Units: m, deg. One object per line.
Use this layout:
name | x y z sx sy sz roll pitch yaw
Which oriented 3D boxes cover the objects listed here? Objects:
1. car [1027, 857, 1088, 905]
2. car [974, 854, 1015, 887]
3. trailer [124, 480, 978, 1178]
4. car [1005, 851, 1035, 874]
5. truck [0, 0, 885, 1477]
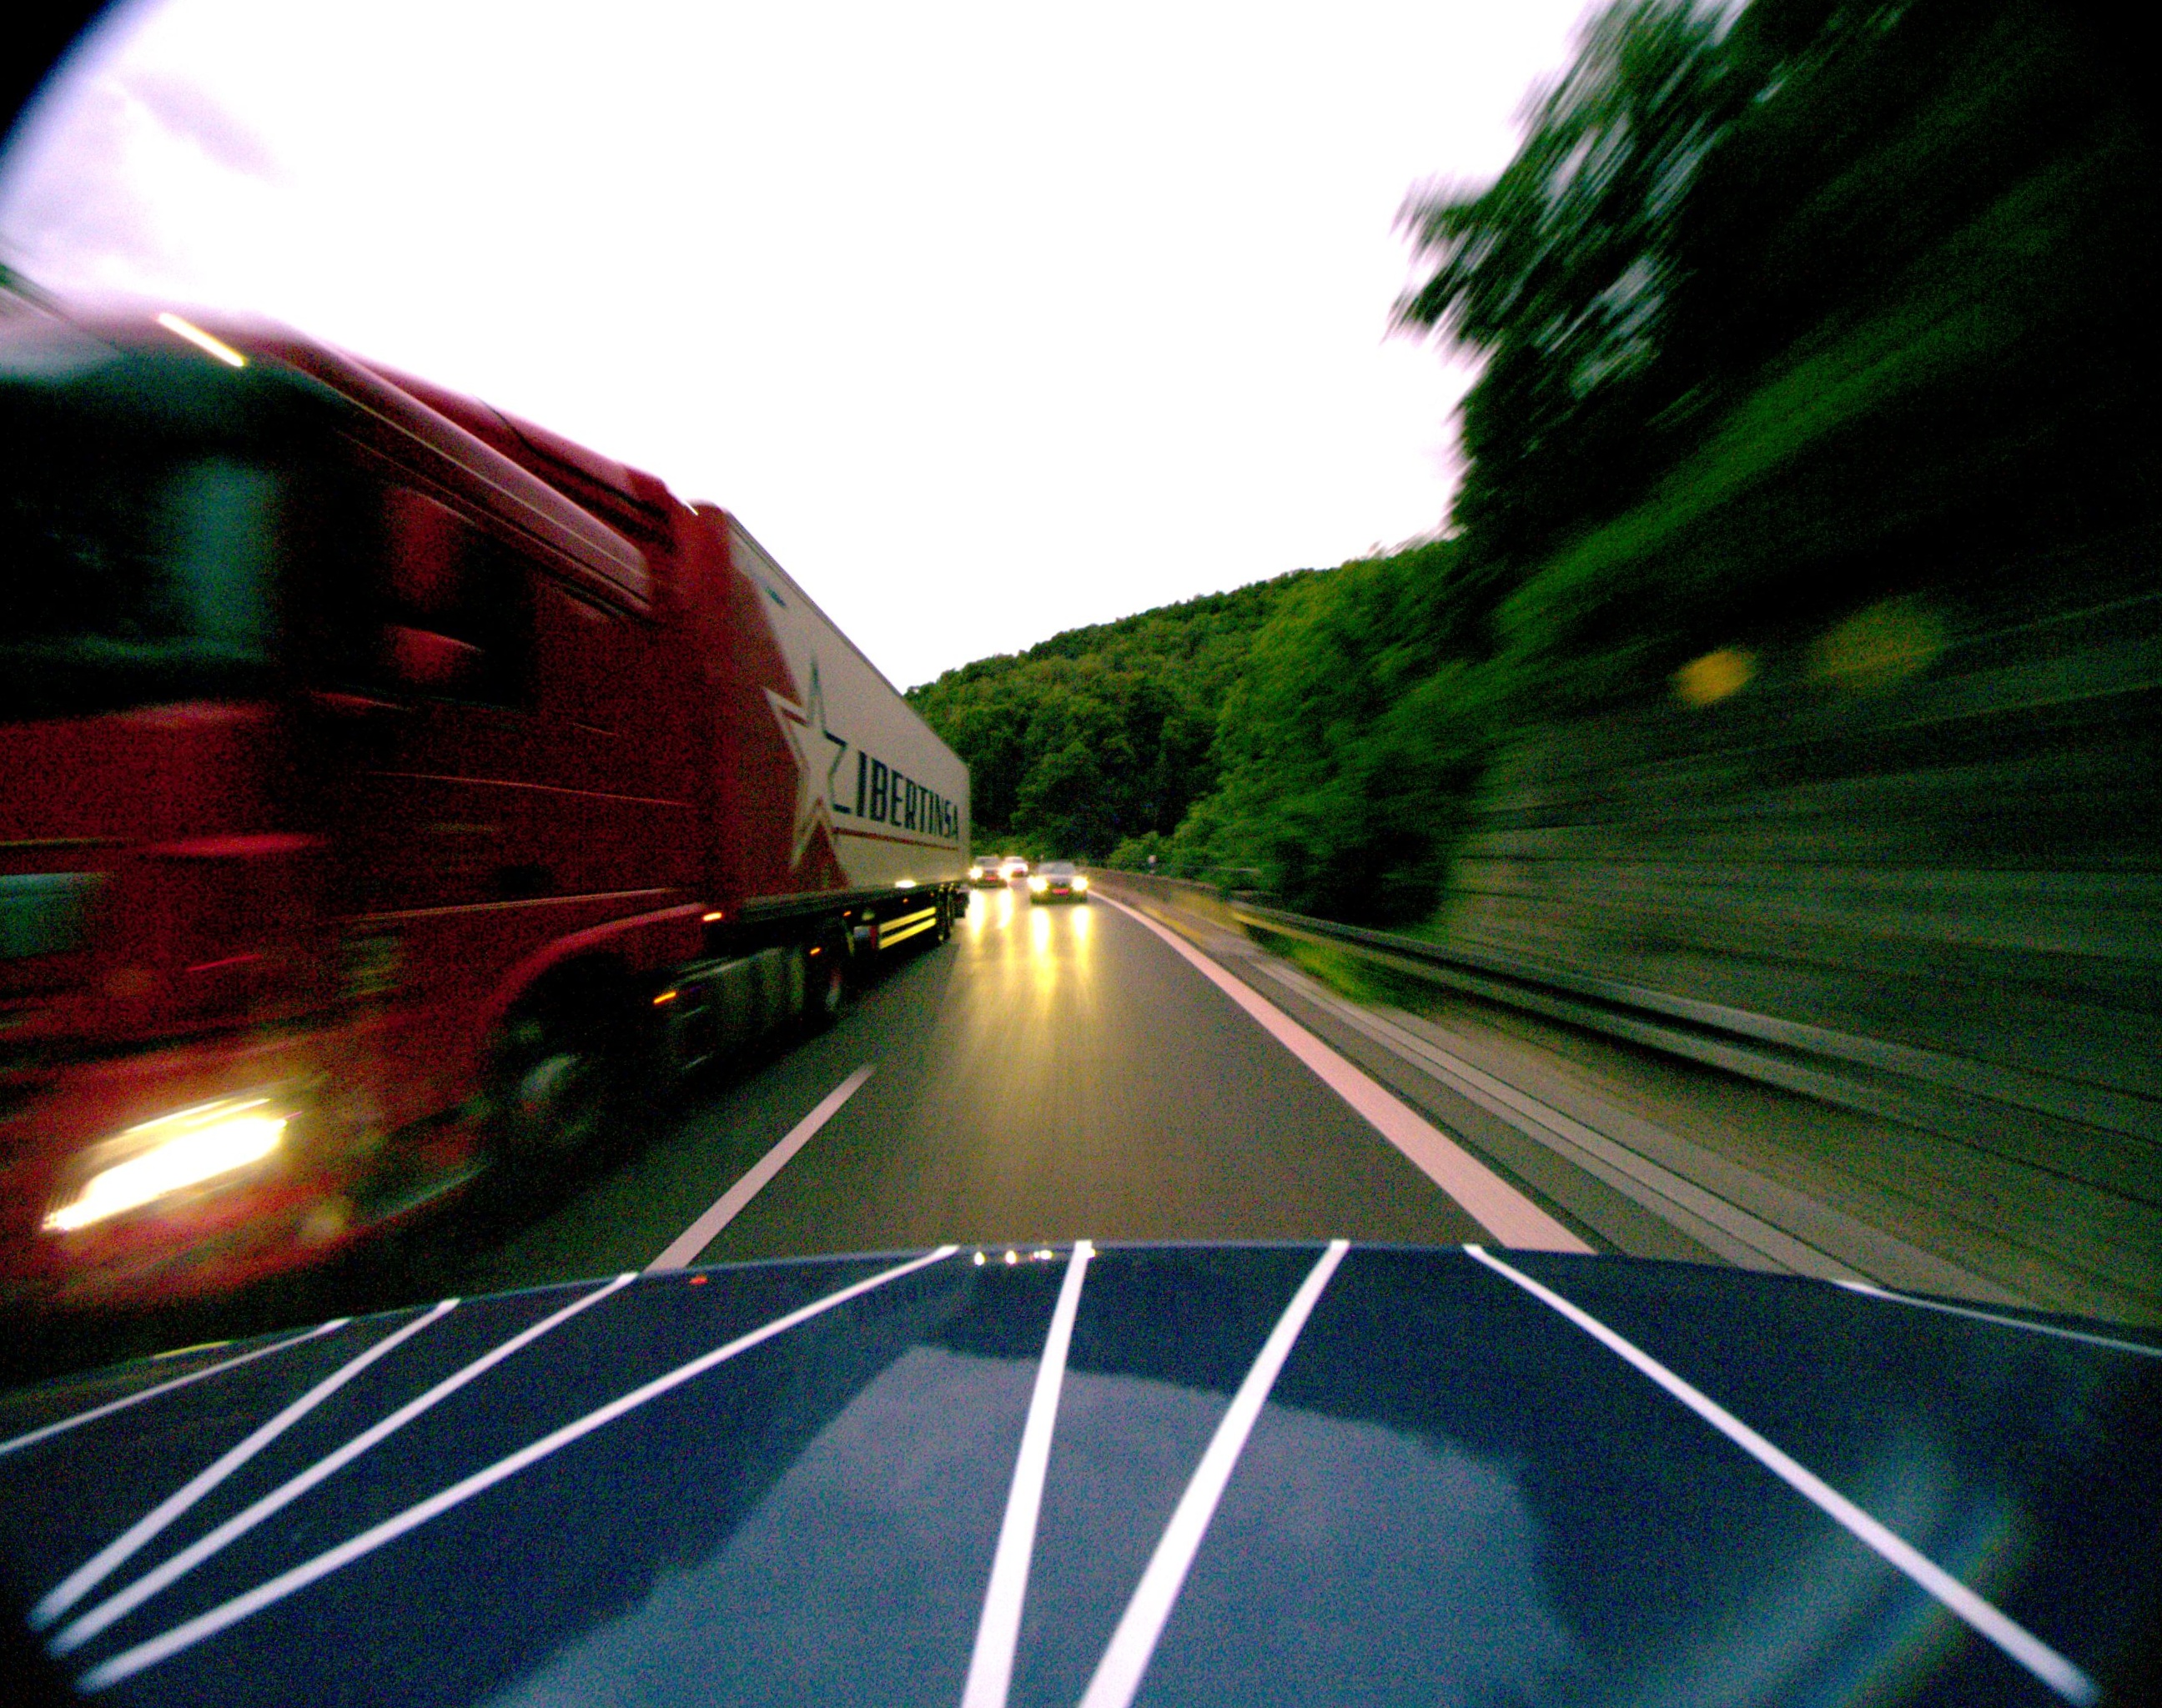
car | -0.800 0.904 26.974 1.999 1.499 3.999 0 1 -1
car | -4.703 0.850 40.756 2.000 1.630 3.996 0 0 -9
trailer | -3.959 -0.200 11.469 3.105 3.947 14.214 -1 1 -1
car | -4.611 0.633 57.013 2.000 1.499 3.997 4 -1 -7
truck | -3.789 -0.362 5.306 3.077 4.120 6.446 2 0 0
